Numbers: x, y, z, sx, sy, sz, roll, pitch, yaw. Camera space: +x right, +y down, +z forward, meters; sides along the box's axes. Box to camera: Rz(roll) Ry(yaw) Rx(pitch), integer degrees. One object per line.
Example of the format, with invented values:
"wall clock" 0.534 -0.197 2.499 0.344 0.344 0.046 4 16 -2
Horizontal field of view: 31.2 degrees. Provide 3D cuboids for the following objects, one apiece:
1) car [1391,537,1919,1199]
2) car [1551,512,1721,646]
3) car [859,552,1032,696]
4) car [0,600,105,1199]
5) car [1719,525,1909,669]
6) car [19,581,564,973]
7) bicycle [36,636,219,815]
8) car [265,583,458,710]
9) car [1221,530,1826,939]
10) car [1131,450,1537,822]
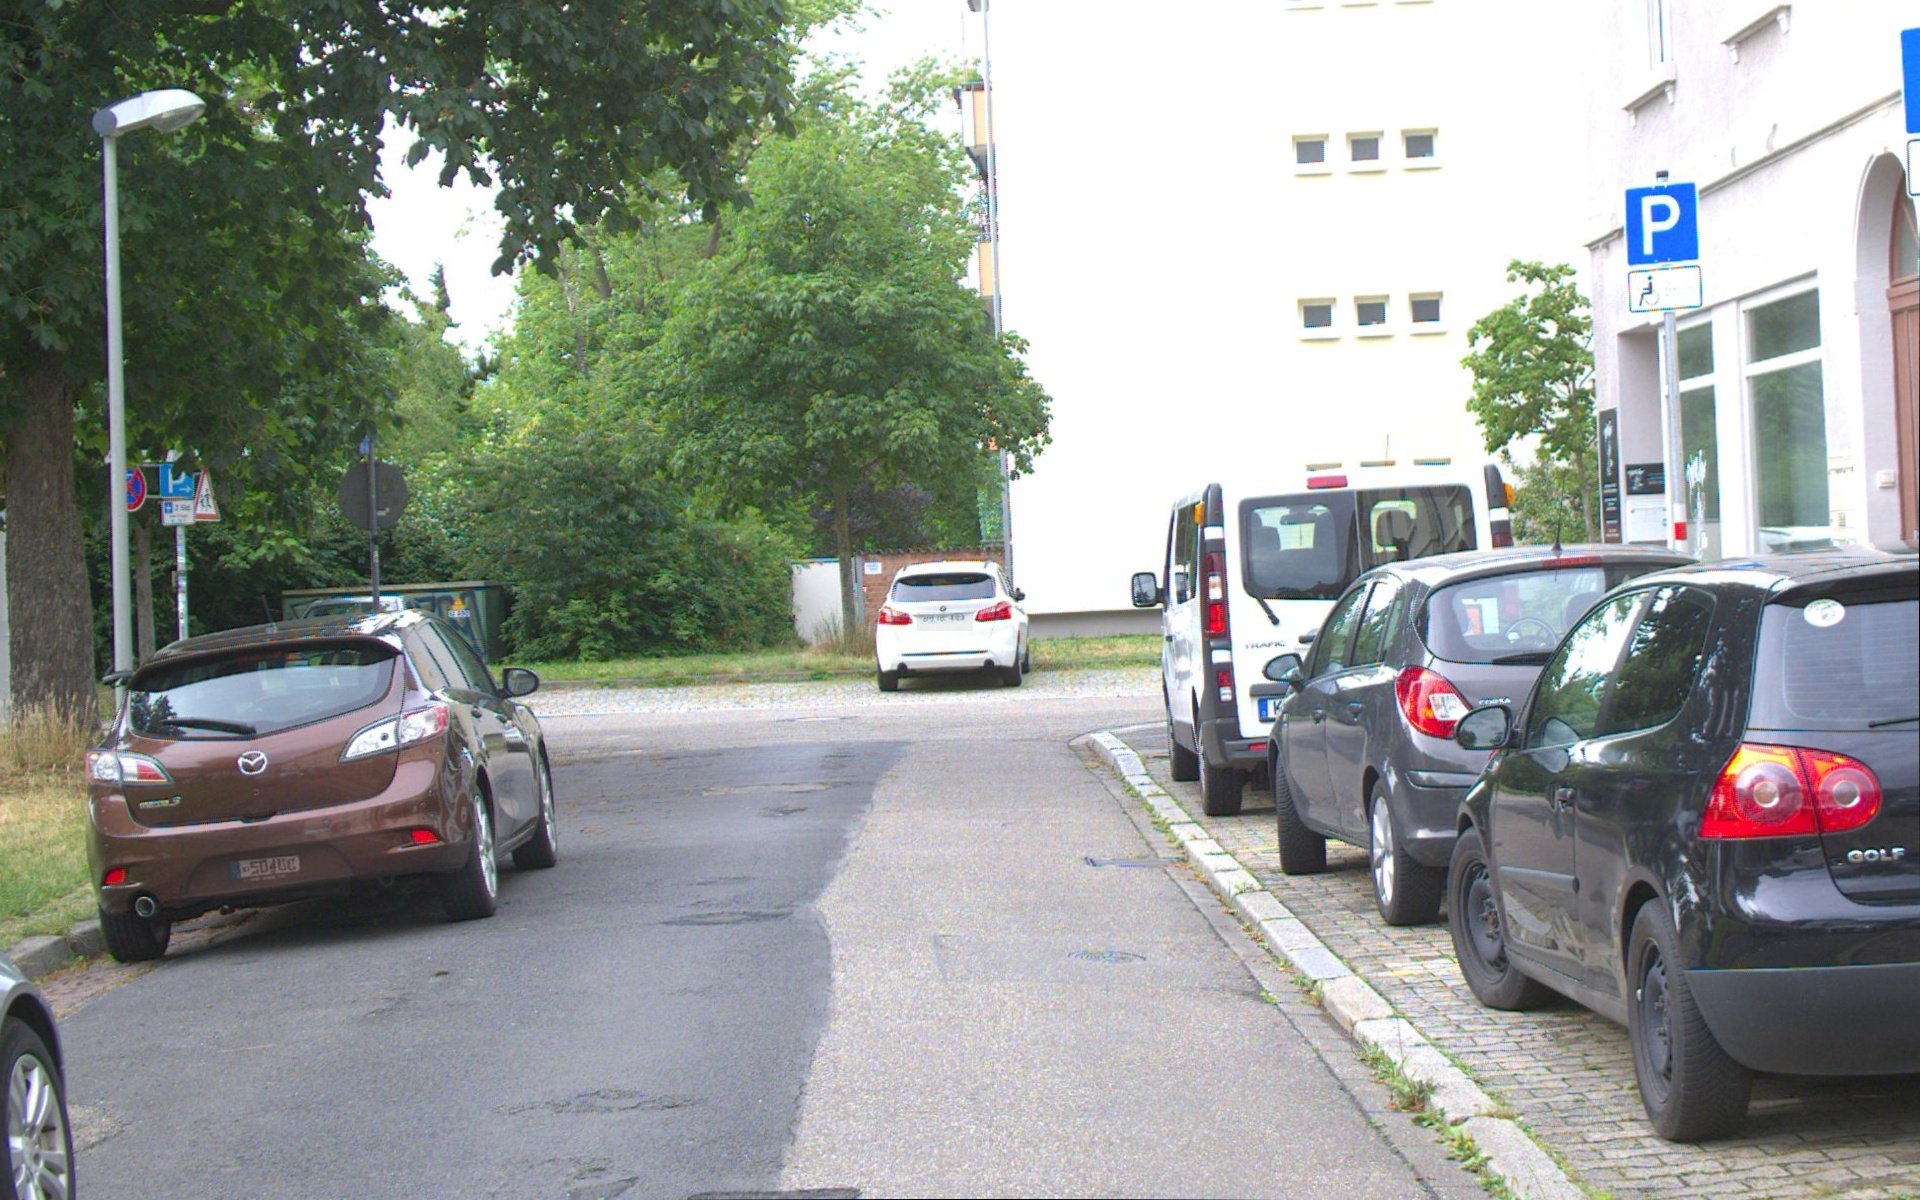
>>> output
"car" 2.455 0.583 10.027 1.688 1.449 4.545 -4 1 -1
"car" 8.431 -0.305 43.192 1.836 1.560 4.356 -1 1 8
"car" -0.139 0.266 44.194 1.878 1.555 4.149 0 4 4
"car" -2.952 0.833 6.022 1.711 1.453 4.448 -6 1 -1
"car" 10.855 -0.074 43.933 1.911 1.691 4.067 -1 1 8
"car" -3.046 0.731 16.520 1.711 1.453 4.163 -6 1 -1
"bicycle" -5.386 0.791 22.355 0.666 1.063 1.885 -2 0 1
"car" -7.707 0.562 44.642 1.674 1.449 4.560 -2 1 0
"car" 2.303 0.497 15.076 1.687 1.449 3.902 -4 1 -4
"car" 2.217 0.175 21.737 1.878 1.989 5.013 -3 1 -1
